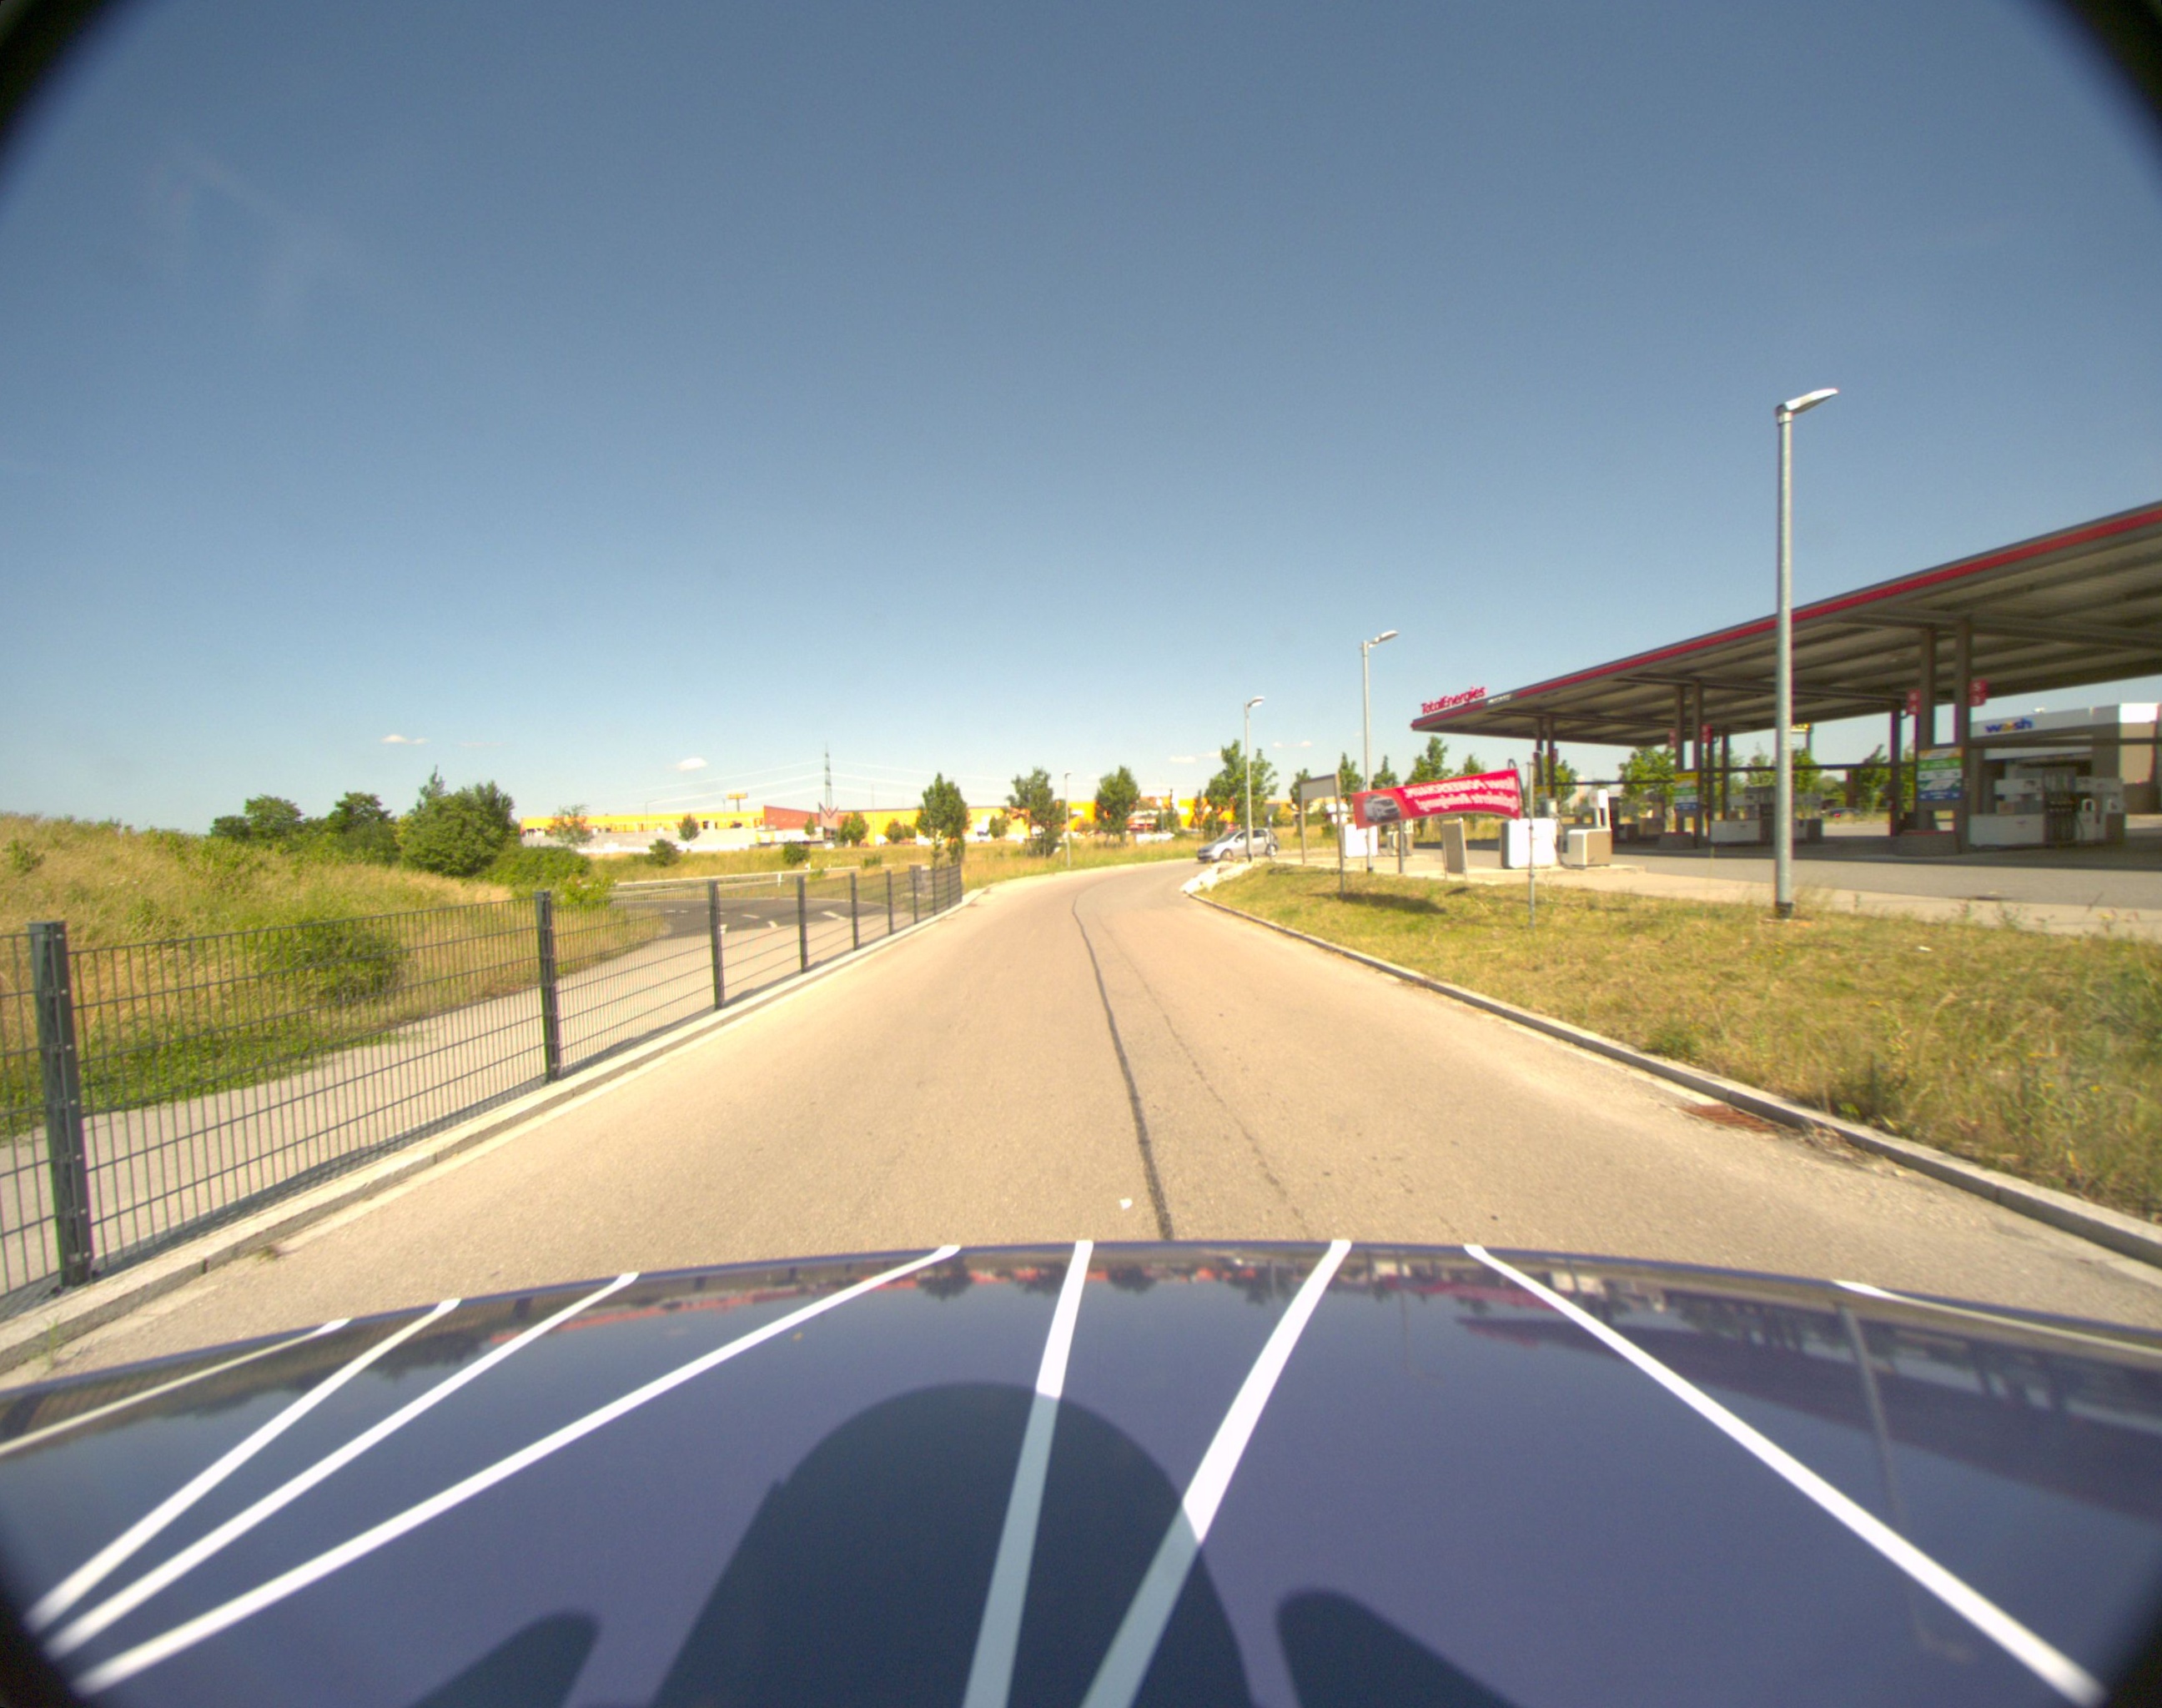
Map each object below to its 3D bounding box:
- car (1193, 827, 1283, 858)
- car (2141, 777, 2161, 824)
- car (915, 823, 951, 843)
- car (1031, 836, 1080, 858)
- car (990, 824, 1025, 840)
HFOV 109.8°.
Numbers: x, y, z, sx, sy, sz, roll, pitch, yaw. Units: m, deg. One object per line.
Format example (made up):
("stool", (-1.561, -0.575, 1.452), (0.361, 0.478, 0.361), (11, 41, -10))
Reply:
("car", (7.628, -0.551, 36.974), (3.964, 1.459, 1.744), (0, 1, -21))
("car", (38.088, -1.862, 25.032), (3.682, 1.565, 1.696), (-2, 1, 4))
("car", (-20.527, -2.936, 105.631), (4.635, 2.534, 1.999), (-3, 1, -6))
("car", (-2.507, -0.697, 74.695), (4.635, 2.002, 1.999), (-3, 1, -6))
("car", (-10.298, -3.012, 106.289), (4.635, 2.002, 1.999), (-3, 1, -6))
